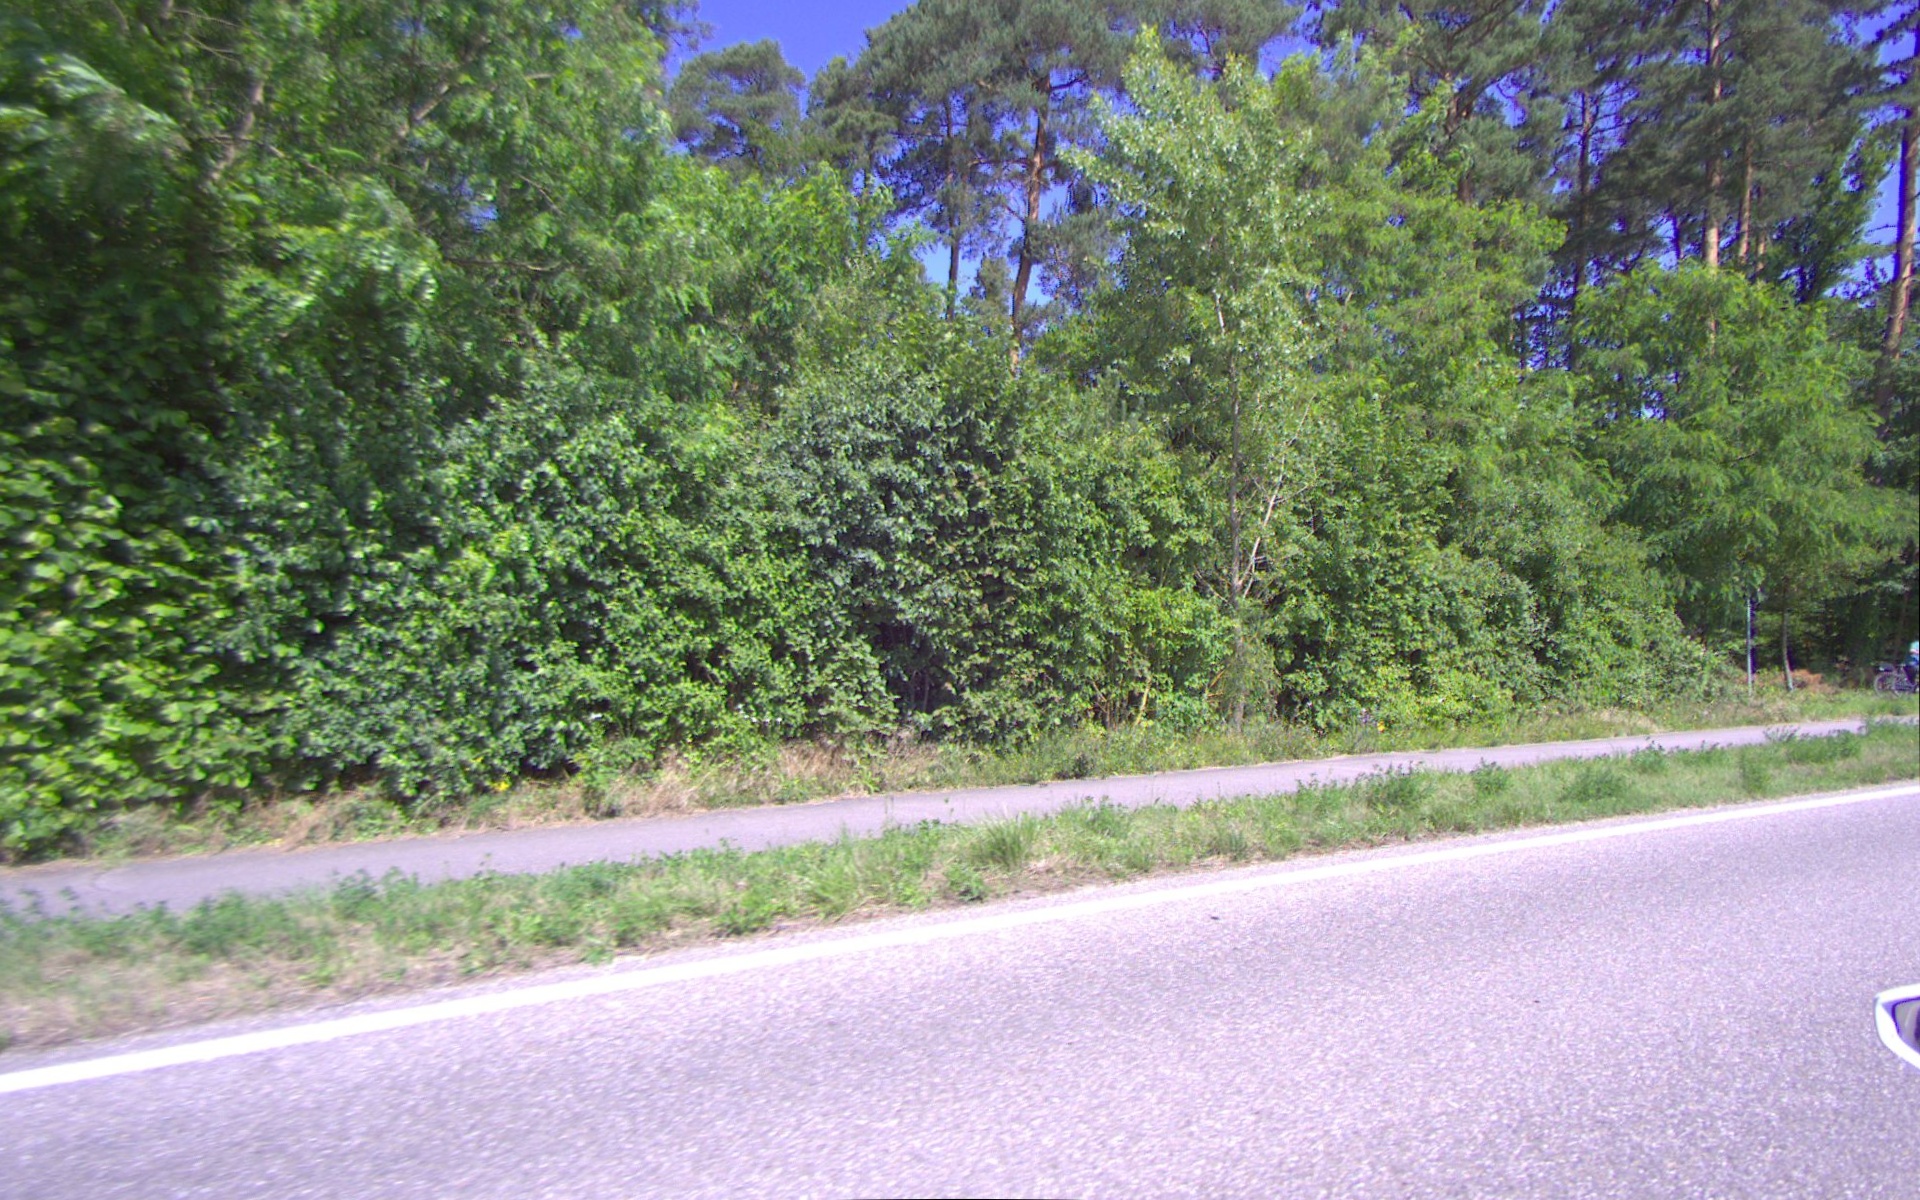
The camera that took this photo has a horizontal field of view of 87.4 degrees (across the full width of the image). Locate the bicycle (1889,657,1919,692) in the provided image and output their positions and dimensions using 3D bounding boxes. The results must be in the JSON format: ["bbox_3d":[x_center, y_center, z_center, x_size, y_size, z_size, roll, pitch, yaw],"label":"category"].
[{"bbox_3d":[25.059,1.929,25.578,1.946,0.840,0.606,2,0,22],"label":"bicycle"}]

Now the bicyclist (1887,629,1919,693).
[{"bbox_3d":[23.931,1.520,25.149,0.854,1.566,0.606,2,0,22],"label":"bicyclist"}]

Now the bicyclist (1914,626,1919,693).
[{"bbox_3d":[25.099,1.555,25.678,0.834,1.723,0.606,2,0,22],"label":"bicyclist"}]

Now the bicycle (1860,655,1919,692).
[{"bbox_3d":[23.914,1.853,25.145,1.946,0.840,0.606,1,0,22],"label":"bicycle"}]
